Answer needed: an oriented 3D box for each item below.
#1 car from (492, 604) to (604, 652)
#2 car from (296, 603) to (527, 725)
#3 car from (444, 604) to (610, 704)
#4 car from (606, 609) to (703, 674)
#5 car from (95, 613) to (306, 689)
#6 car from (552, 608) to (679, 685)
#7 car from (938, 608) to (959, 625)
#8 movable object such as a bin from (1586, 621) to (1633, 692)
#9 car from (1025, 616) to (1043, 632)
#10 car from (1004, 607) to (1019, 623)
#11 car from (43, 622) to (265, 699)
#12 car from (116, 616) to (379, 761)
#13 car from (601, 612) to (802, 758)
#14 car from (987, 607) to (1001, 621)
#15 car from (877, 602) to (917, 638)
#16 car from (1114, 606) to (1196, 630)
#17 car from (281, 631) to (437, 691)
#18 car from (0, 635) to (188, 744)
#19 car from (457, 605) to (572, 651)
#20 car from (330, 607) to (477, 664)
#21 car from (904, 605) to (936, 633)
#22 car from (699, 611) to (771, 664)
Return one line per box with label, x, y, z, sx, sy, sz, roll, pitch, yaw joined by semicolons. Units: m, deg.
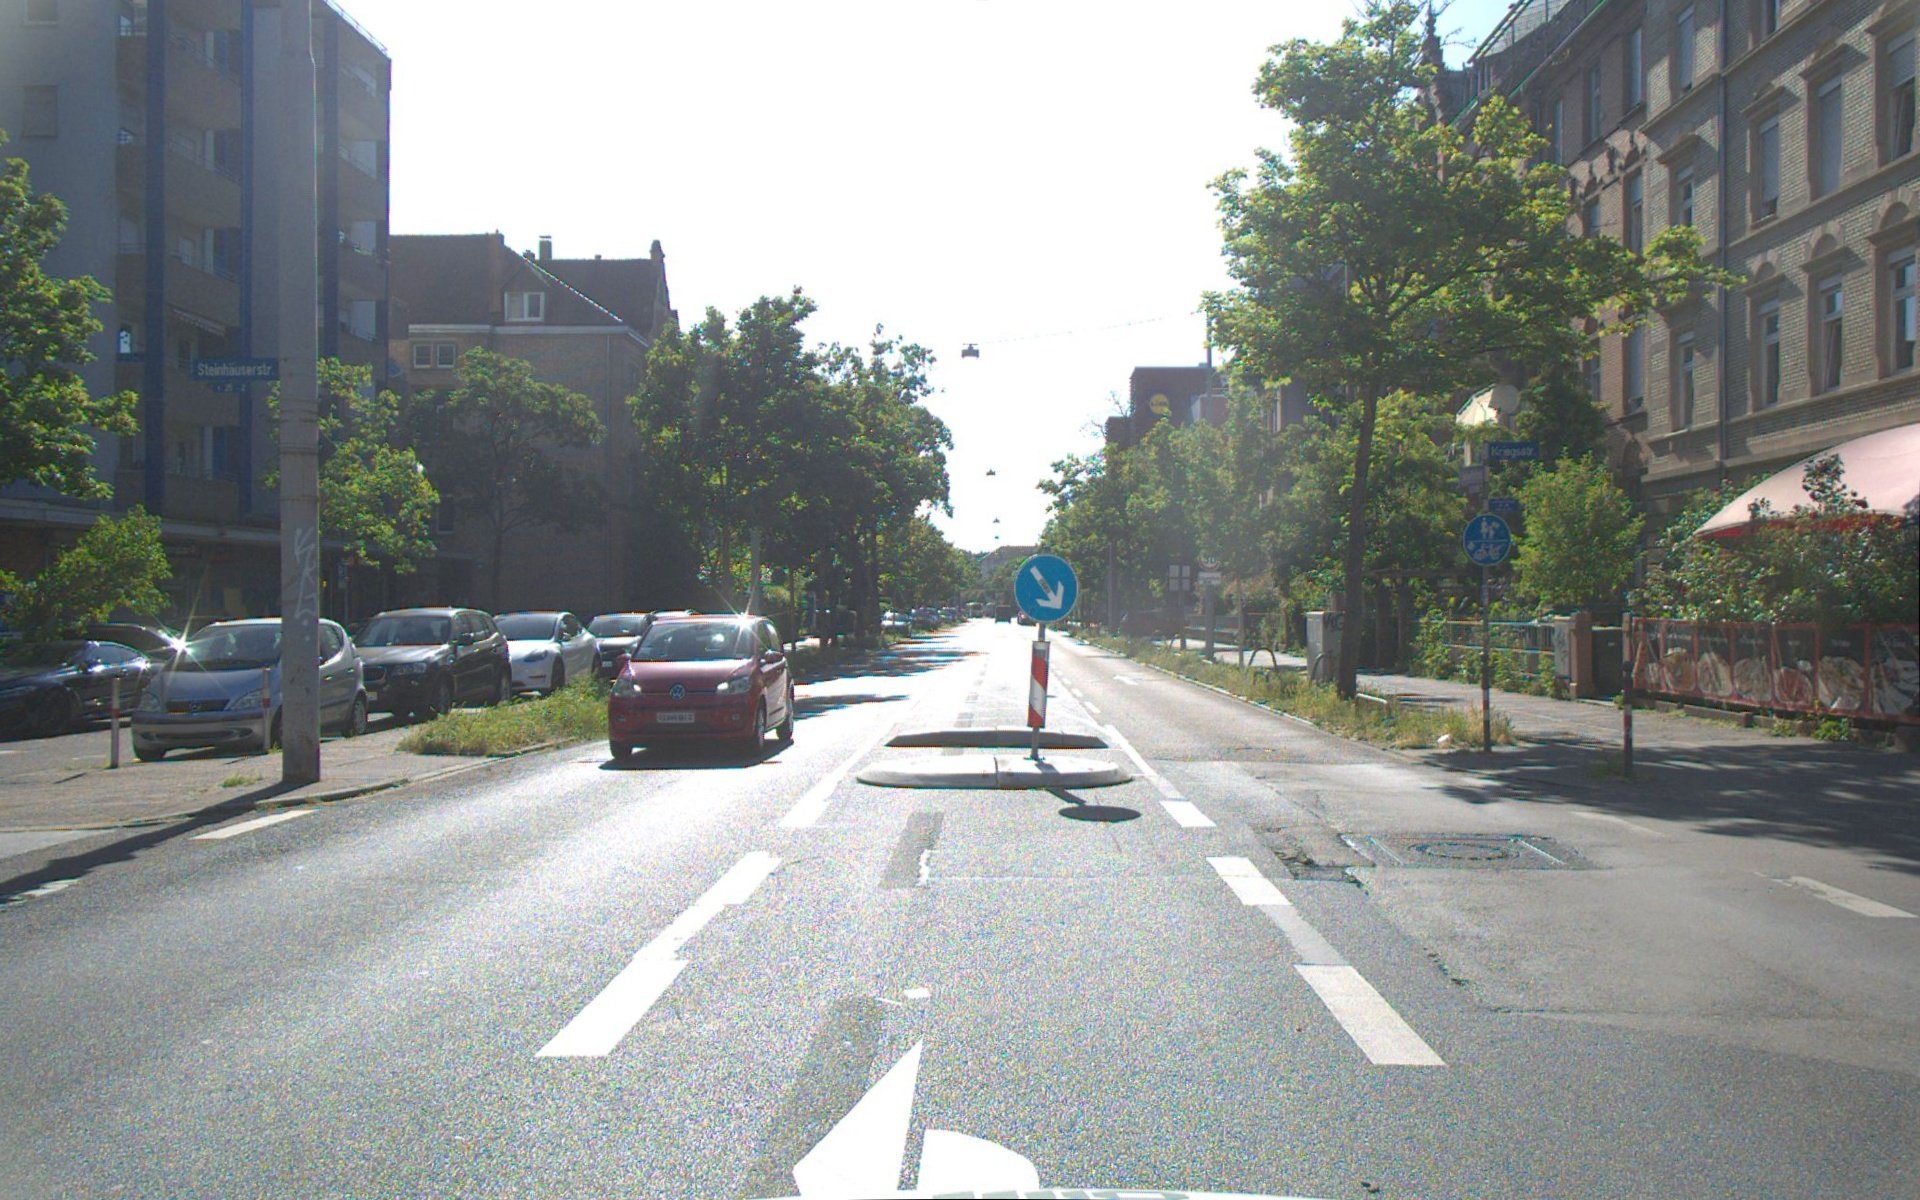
car;-16.048;1.073;64.593;3.906;1.800;1.885;0;0;-2
car;-8.178;0.895;25.130;1.829;1.656;4.506;-1;0;2
car;-8.158;0.966;31.565;1.849;1.691;4.531;-2;0;1
car;-7.990;1.056;43.625;1.715;1.580;4.000;-1;0;1
car;-17.135;1.137;37.457;3.907;1.636;1.841;0;0;-2
car;-7.832;1.018;37.950;1.824;1.615;4.002;-2;0;4
car;-1.210;1.774;175.973;1.952;1.725;4.002;-1;0;4
movable object such as a bin;10.651;0.924;27.120;0.556;1.153;0.552;0;-1;2
car;8.218;2.618;183.484;1.910;1.738;4.001;-1;0;2
car;6.159;1.779;195.831;1.721;1.815;4.001;-1;0;2
car;-17.314;1.283;35.679;3.907;1.578;1.769;0;0;-2
car;-8.506;0.997;20.063;1.684;1.545;3.531;-1;0;-1
car;-2.783;0.871;18.476;1.617;1.453;3.507;-1;0;1
car;4.389;1.829;213.641;1.721;1.815;4.001;-1;0;2
car;-3.755;1.189;99.279;1.952;2.049;4.207;-1;0;4
car;10.159;0.921;86.185;3.921;1.244;1.796;0;0;-15
car;-17.360;1.748;47.899;3.907;1.658;1.687;0;0;-2
car;-13.840;1.296;25.144;1.851;1.422;4.531;-1;0;4
car;-16.794;1.048;62.485;3.907;1.658;1.687;0;0;-2
car;-16.934;1.070;50.426;3.907;1.658;1.687;0;0;-2
car;-3.032;1.426;126.393;2.018;2.049;4.631;-1;0;3
car;-7.399;1.211;54.655;1.726;1.675;4.001;0;0;1
